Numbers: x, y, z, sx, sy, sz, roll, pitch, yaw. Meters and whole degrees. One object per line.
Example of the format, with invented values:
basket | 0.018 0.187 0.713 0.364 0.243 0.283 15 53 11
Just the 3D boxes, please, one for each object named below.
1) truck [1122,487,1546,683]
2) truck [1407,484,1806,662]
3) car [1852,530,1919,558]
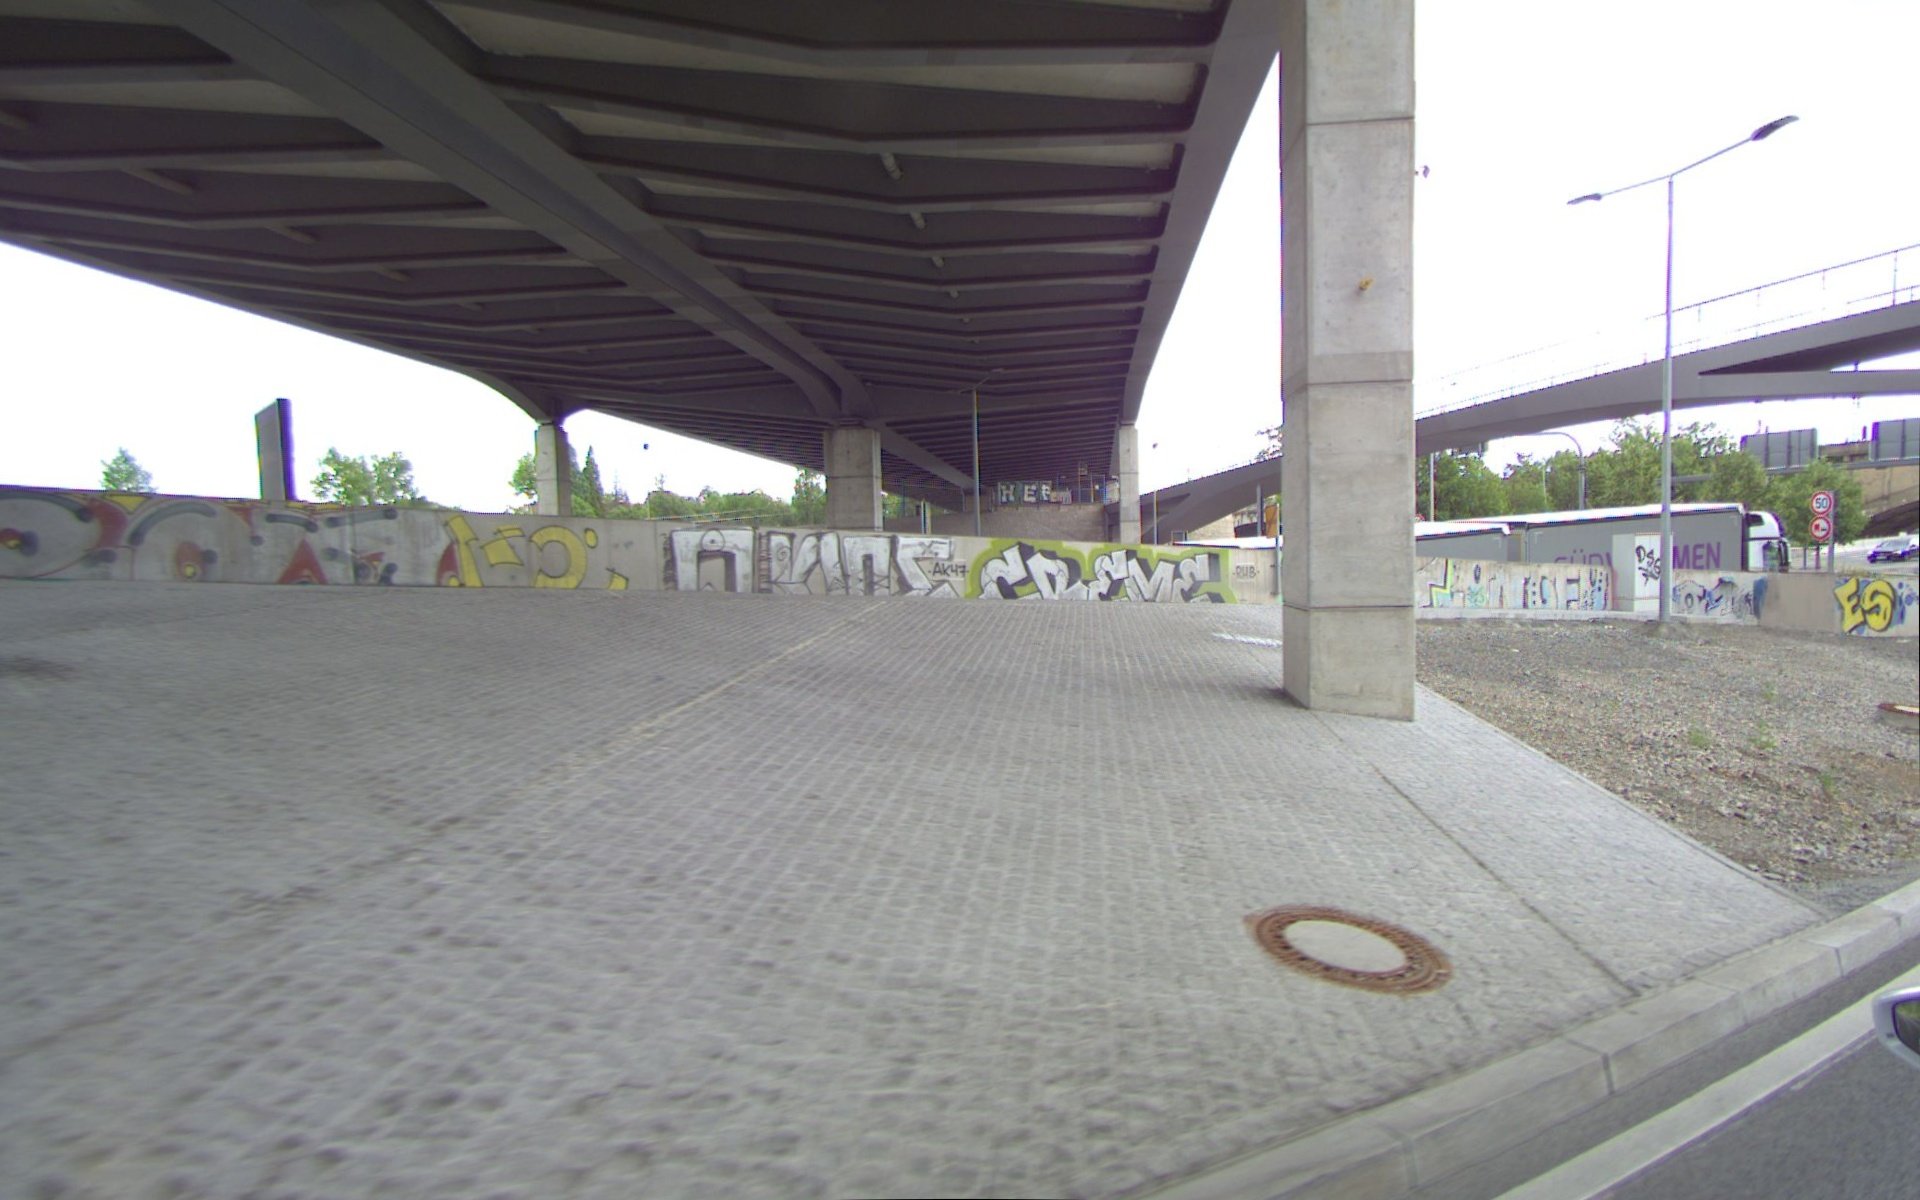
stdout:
truck | 8.990 -0.519 23.984 10.045 4.072 2.913 -2 4 -20
truck | 17.598 -0.859 27.207 11.069 4.233 2.982 -2 4 -20
car | 57.389 -3.434 62.243 3.944 1.646 1.702 -1 2 -24
